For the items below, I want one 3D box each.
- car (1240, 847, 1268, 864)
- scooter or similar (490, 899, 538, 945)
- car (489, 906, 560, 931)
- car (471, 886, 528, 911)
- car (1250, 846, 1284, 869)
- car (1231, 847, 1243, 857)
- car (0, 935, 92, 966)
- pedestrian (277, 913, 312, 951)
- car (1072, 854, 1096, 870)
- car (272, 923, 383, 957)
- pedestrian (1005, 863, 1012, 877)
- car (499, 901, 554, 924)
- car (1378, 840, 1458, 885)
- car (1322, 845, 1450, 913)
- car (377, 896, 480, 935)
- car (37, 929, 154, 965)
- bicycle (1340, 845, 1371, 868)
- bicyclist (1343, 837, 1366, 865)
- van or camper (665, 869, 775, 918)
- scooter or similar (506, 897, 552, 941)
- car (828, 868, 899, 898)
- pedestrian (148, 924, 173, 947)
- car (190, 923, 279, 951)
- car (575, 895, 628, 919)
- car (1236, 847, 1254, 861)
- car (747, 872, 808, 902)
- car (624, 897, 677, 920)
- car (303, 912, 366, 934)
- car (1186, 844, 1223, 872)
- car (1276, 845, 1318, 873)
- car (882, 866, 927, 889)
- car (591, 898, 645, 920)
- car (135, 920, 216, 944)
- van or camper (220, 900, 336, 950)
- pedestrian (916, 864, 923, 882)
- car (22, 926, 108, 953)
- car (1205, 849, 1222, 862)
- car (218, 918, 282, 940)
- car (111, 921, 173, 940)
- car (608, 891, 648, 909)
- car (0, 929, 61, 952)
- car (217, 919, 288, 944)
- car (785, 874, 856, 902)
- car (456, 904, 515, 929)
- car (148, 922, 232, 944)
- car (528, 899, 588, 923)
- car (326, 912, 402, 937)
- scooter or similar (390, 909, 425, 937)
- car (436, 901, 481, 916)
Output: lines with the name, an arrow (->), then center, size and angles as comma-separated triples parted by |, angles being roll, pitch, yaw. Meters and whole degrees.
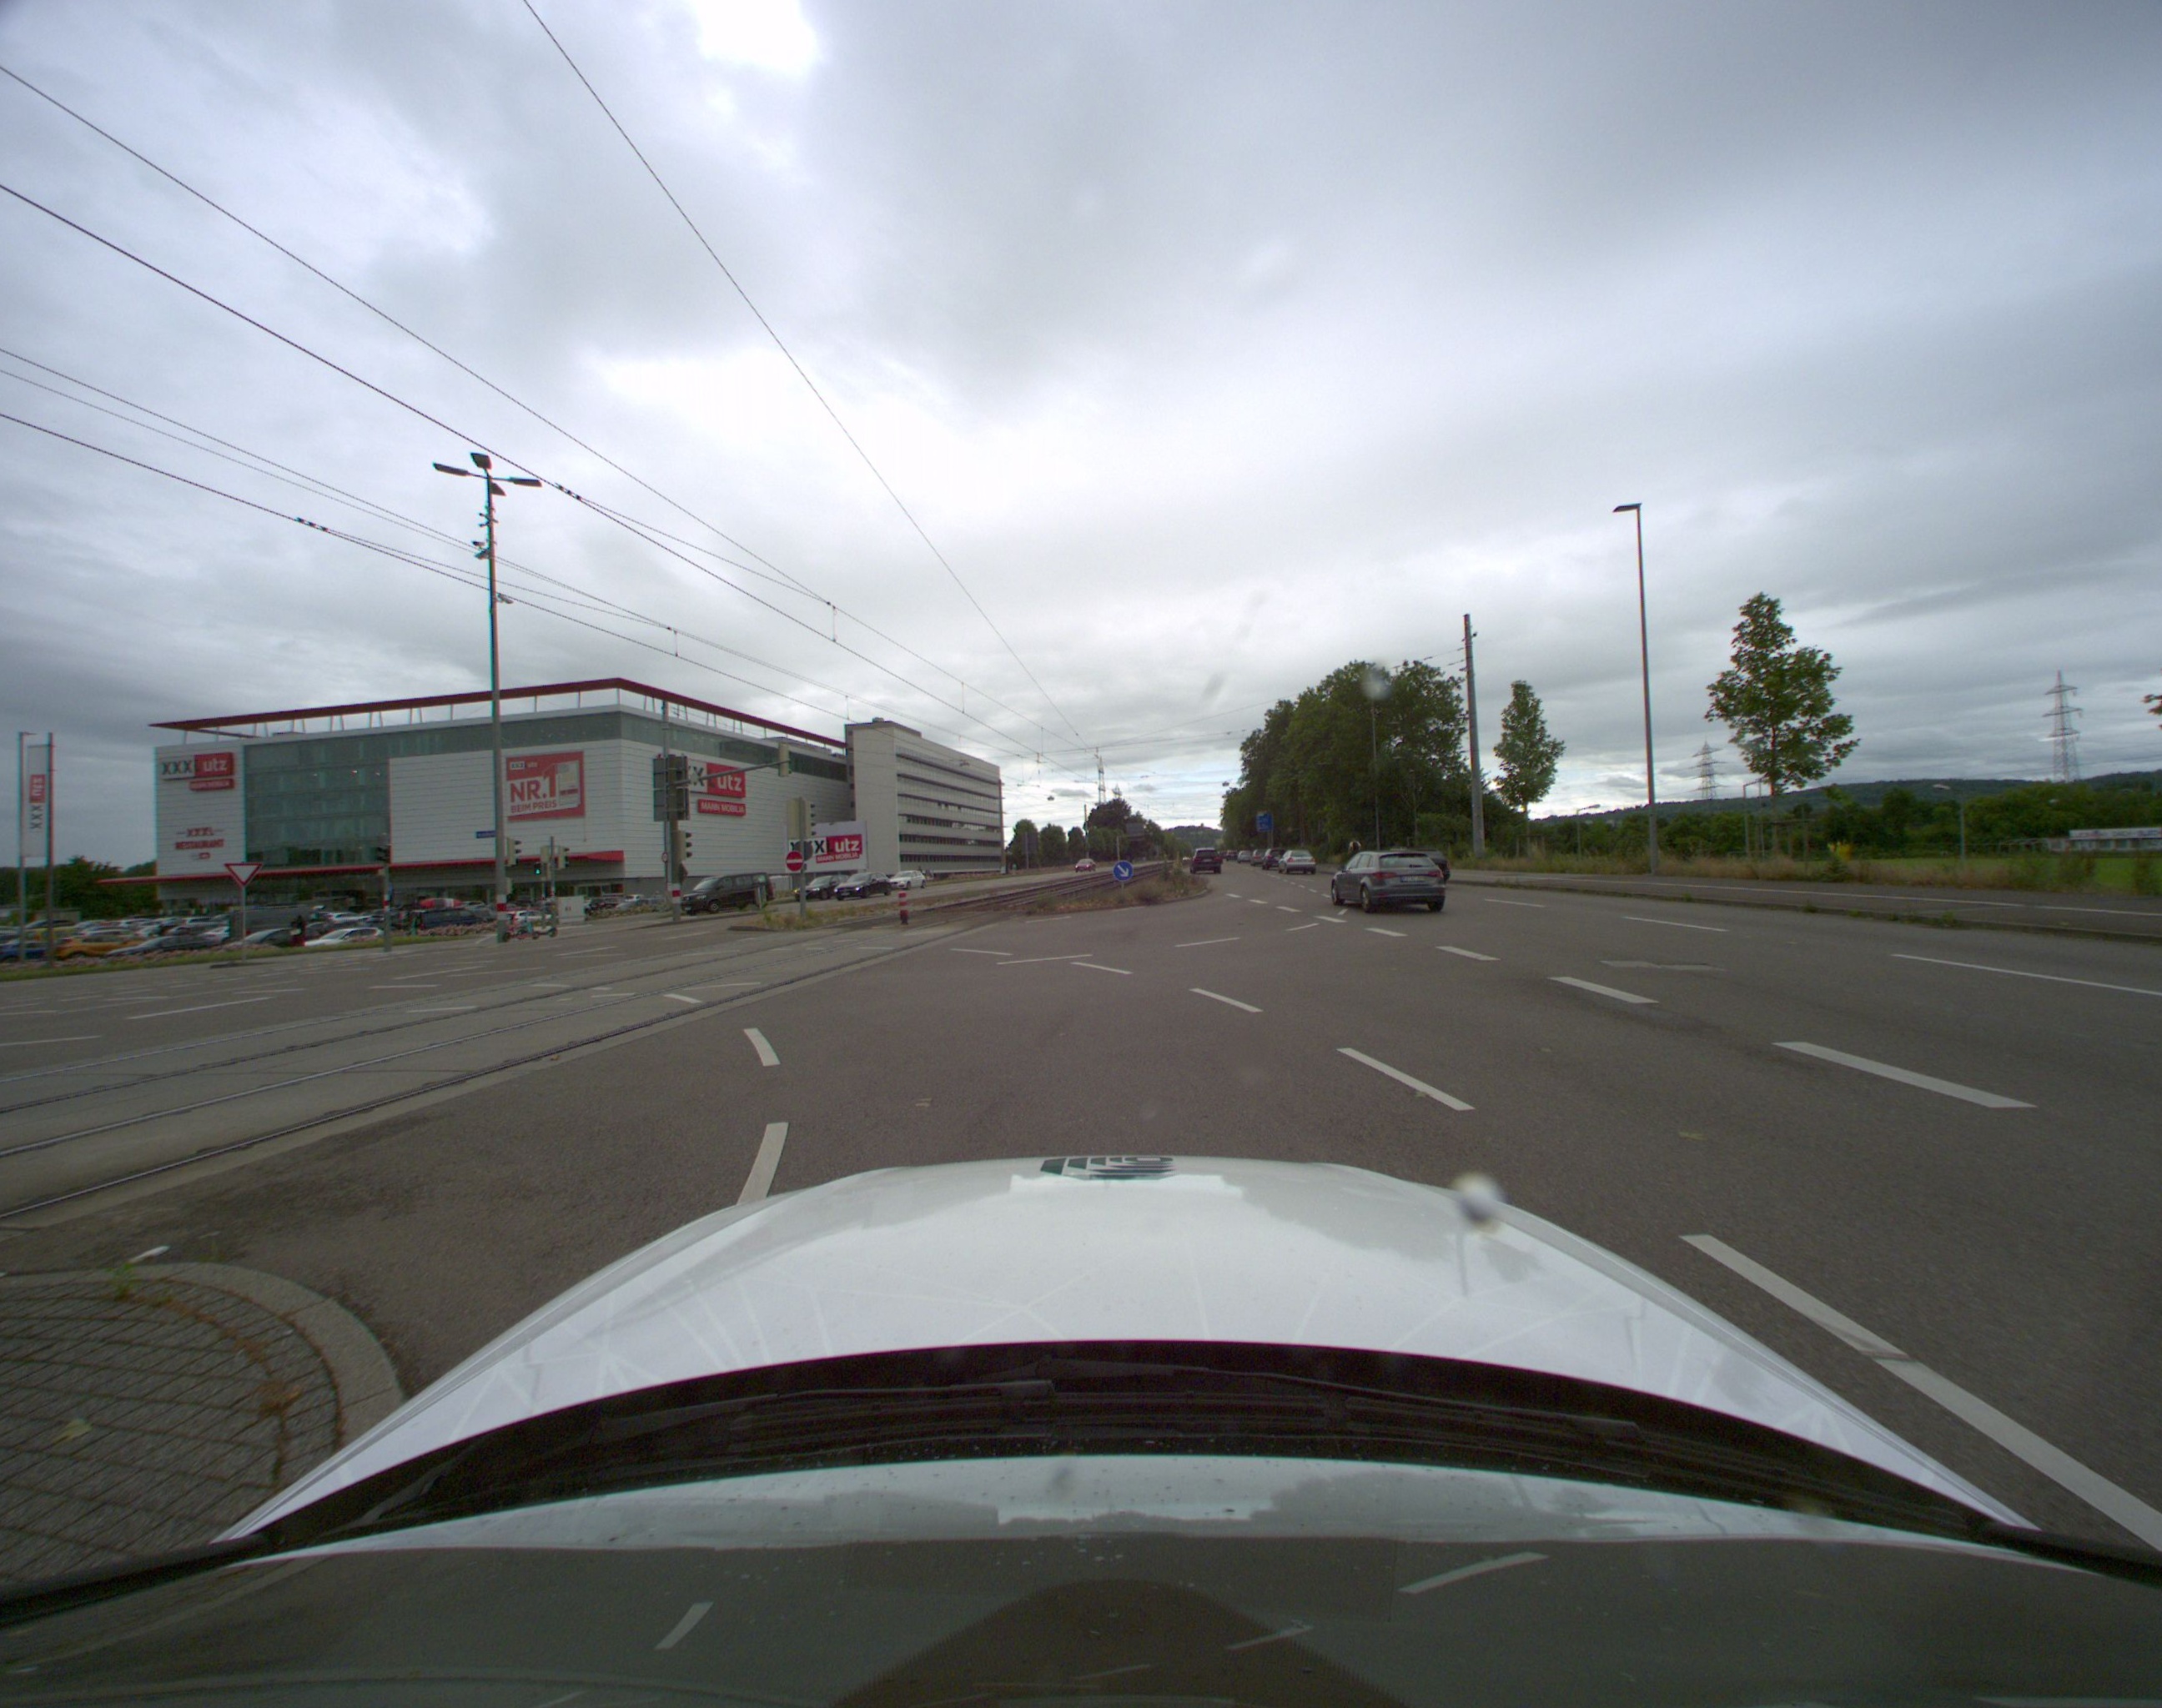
car -> 16.352, 0.123, 77.140 | 1.849, 1.561, 4.320 | 0, -1, 3
scooter or similar -> -17.022, 2.021, 24.469 | 0.459, 1.256, 1.024 | -6, -1, 25
car -> -41.008, 4.727, 60.130 | 1.727, 1.476, 4.227 | -4, -1, 14
car -> -55.486, 4.239, 77.844 | 1.979, 2.013, 4.015 | -3, 0, 13
car -> 13.629, 0.271, 59.931 | 1.848, 1.561, 4.322 | 0, -1, 5
car -> 25.060, -0.336, 130.809 | 1.805, 1.480, 3.679 | -1, -1, 8
car -> -63.355, 5.846, 49.271 | 1.796, 1.455, 4.014 | -4, -2, 13
pedestrian -> -35.463, 3.520, 36.714 | 0.711, 1.597, 0.785 | -6, -2, 5
car -> 0.365, 0.915, 93.904 | 1.981, 1.728, 4.012 | -3, 0, 11
car -> -41.354, 4.699, 44.829 | 1.857, 1.446, 4.132 | -2, -1, 11
pedestrian -> -8.810, 1.928, 98.487 | 0.538, 1.654, 0.619 | -2, -2, 44
car -> -52.938, 5.558, 77.864 | 1.802, 1.818, 4.016 | -4, -1, 14
car -> 12.023, 0.315, 29.312 | 1.724, 1.479, 4.331 | -1, -1, 10
car -> 7.219, 0.547, 19.700 | 1.730, 1.401, 4.080 | -2, 0, 3
car -> -44.524, 4.175, 55.723 | 2.099, 2.165, 5.074 | -4, -1, 17
car -> -58.586, 5.504, 48.511 | 1.795, 1.643, 4.017 | -4, -1, 16
bicycle -> 15.065, 0.128, 44.774 | 0.814, 1.185, 2.522 | -4, 1, 0
bicyclist -> 15.004, -0.189, 44.729 | 0.814, 1.478, 1.000 | -4, 1, -1
van or camper -> -18.696, 1.999, 42.419 | 2.097, 2.013, 4.783 | -6, -1, 27
scooter or similar -> -17.401, 2.030, 25.692 | 0.317, 1.256, 1.122 | -6, -1, 25
car -> -12.157, 1.596, 45.753 | 1.817, 1.464, 4.226 | -2, 0, 17
pedestrian -> -70.463, 6.230, 62.335 | 0.877, 1.720, 0.945 | -1, -1, 10
car -> -61.342, 5.988, 59.107 | 1.844, 1.552, 4.015 | -4, -2, 14
car -> -45.185, 4.986, 76.876 | 1.930, 1.929, 4.016 | -4, -1, 14
car -> 19.398, 0.012, 96.492 | 1.805, 1.480, 3.679 | -1, -1, 8
car -> -32.877, 3.502, 88.416 | 2.741, 2.990, 6.975 | -2, -1, 13
car -> -36.732, 4.602, 69.642 | 1.869, 1.665, 4.010 | -3, -1, 9
car -> -69.901, 6.452, 76.369 | 1.817, 1.655, 4.011 | -4, -2, 10
car -> 7.821, 0.284, 51.845 | 1.824, 1.636, 4.320 | -2, 0, 3
car -> 12.686, 0.269, 48.031 | 1.720, 1.509, 3.637 | -1, 0, 4
car -> -13.089, 1.721, 60.483 | 1.716, 1.539, 4.059 | -2, 0, 12
car -> -39.501, 4.665, 69.551 | 1.816, 1.516, 4.010 | -4, -1, 9
car -> -74.599, 6.418, 67.163 | 1.768, 1.635, 4.015 | -4, -2, 14
van or camper -> -56.584, 4.926, 57.530 | 1.968, 2.984, 5.425 | -4, -1, 20
pedestrian -> -15.628, 1.842, 78.752 | 0.696, 1.791, 0.640 | -1, -1, -12
car -> -77.985, 6.533, 62.572 | 1.716, 1.768, 3.762 | -2, -1, 14
car -> 15.715, 0.155, 96.813 | 1.739, 1.431, 3.379 | -1, 0, 4
car -> -81.629, 7.353, 80.088 | 1.769, 1.820, 4.013 | -4, -2, 12
car -> -93.777, 7.612, 81.381 | 1.720, 1.587, 3.596 | -4, -2, 16
car -> -49.230, 4.984, 88.551 | 1.634, 1.560, 3.629 | -3, 0, 13
car -> -82.890, 6.762, 63.317 | 1.870, 1.534, 4.012 | -4, -2, 11
car -> -72.648, 6.761, 71.466 | 1.768, 1.820, 4.015 | -4, -2, 14
car -> -15.835, 2.016, 49.684 | 1.947, 1.464, 4.341 | -3, -1, 17
car -> -53.440, 5.600, 73.175 | 1.814, 1.861, 4.014 | -3, 0, 13
car -> -72.280, 6.418, 66.119 | 1.721, 1.469, 4.269 | -2, -1, 14
car -> -46.038, 4.984, 71.736 | 1.845, 1.780, 4.240 | -3, 0, 14
car -> -55.689, 5.441, 63.344 | 1.836, 1.556, 4.014 | -4, -2, 13
scooter or similar -> -31.501, 3.219, 38.093 | 1.167, 1.233, 0.343 | -3, -3, -27
car -> -71.078, 6.222, 93.056 | 1.813, 1.554, 3.817 | -2, -1, 11
